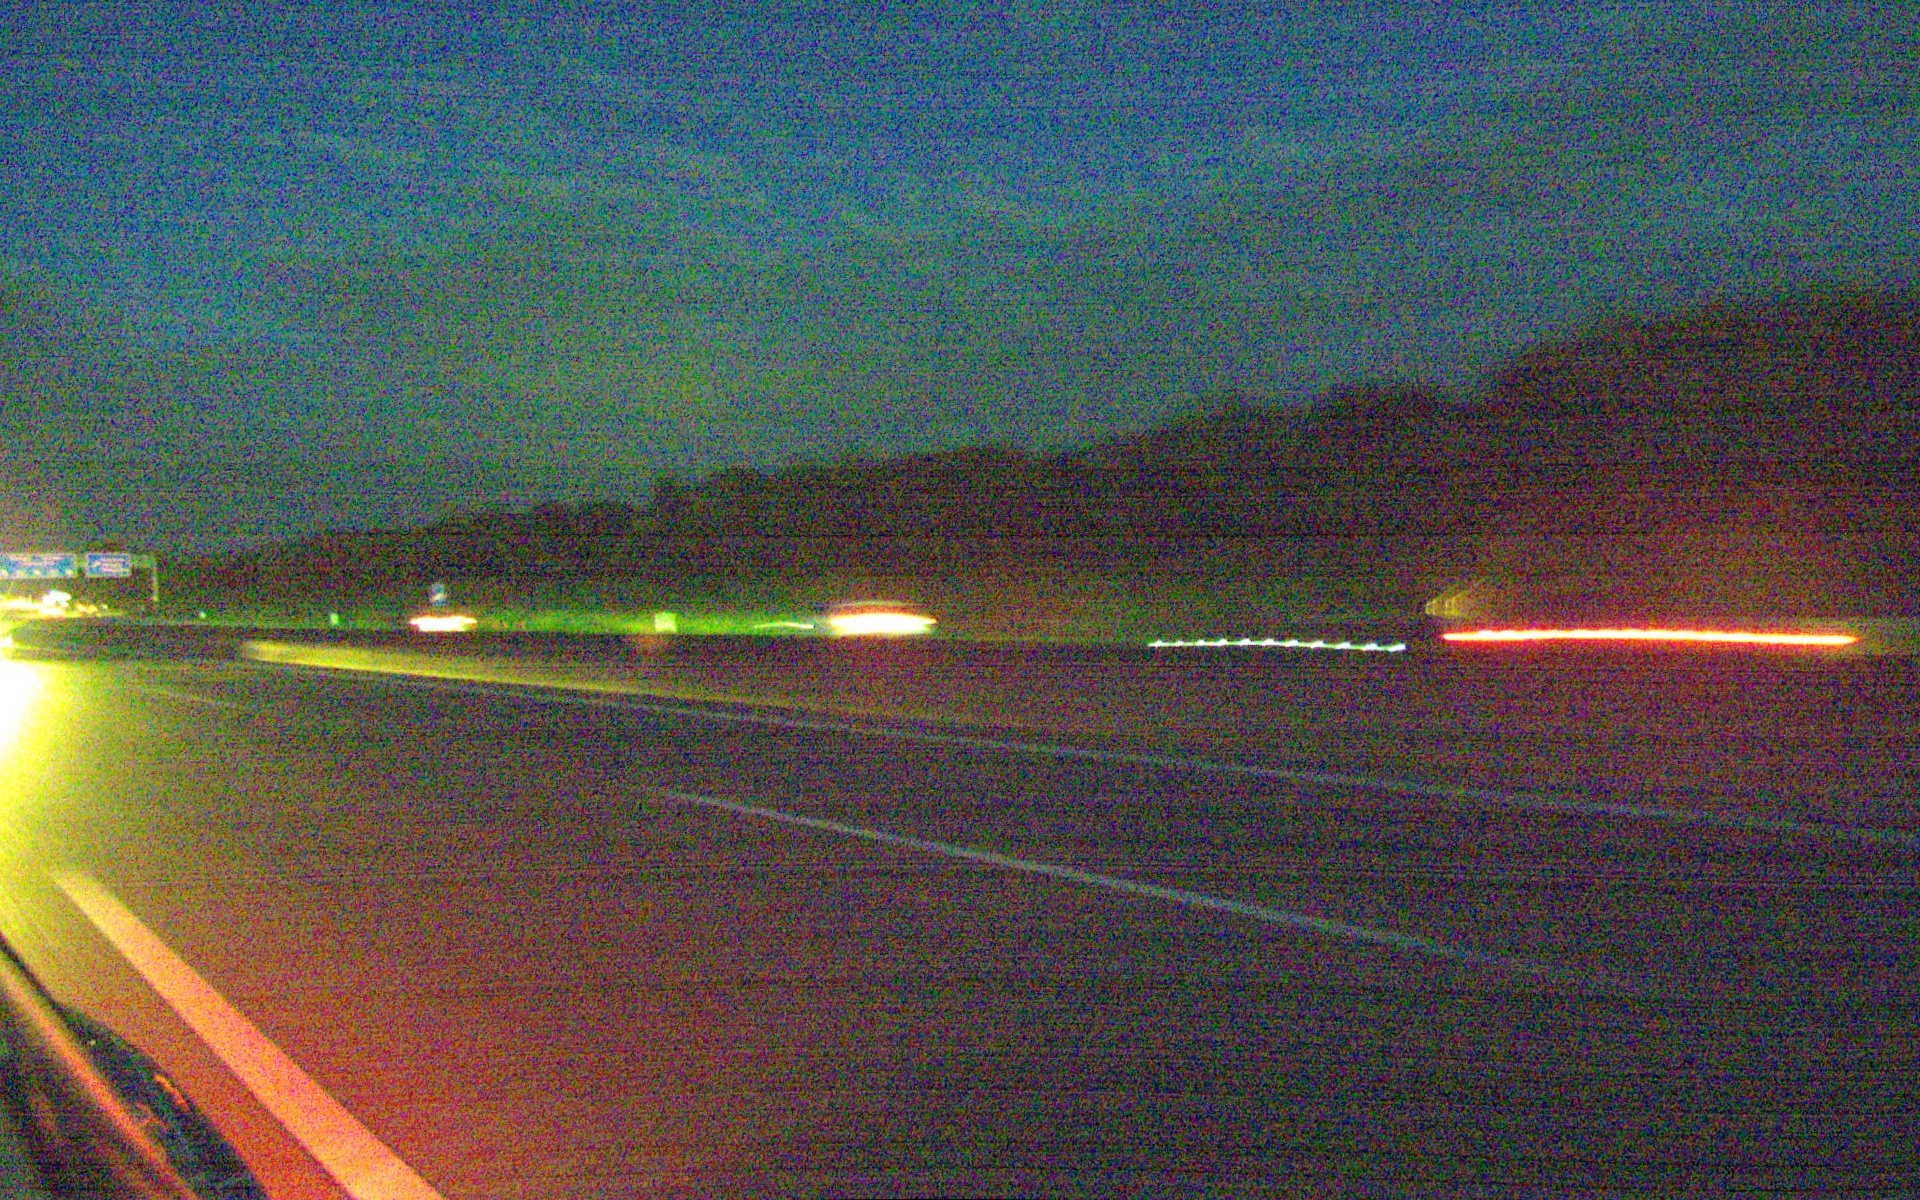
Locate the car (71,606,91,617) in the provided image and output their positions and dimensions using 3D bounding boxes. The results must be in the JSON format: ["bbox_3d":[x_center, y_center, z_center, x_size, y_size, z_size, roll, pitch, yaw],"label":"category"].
[{"bbox_3d":[-128.006,1.683,147.426,4.660,1.440,1.755,0,1,44],"label":"car"}]

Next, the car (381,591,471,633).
[{"bbox_3d":[-24.134,0.507,45.662,4.658,1.803,2.082,0,1,42],"label":"car"}]

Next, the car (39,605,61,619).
[{"bbox_3d":[-130.631,1.711,145.266,4.660,1.899,2.081,0,1,44],"label":"car"}]

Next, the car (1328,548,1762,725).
[{"bbox_3d":[7.088,0.361,12.499,4.318,1.803,2.082,0,1,42],"label":"car"}]

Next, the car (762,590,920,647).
[{"bbox_3d":[-3.977,0.561,33.017,5.385,1.700,2.082,0,1,42],"label":"car"}]
